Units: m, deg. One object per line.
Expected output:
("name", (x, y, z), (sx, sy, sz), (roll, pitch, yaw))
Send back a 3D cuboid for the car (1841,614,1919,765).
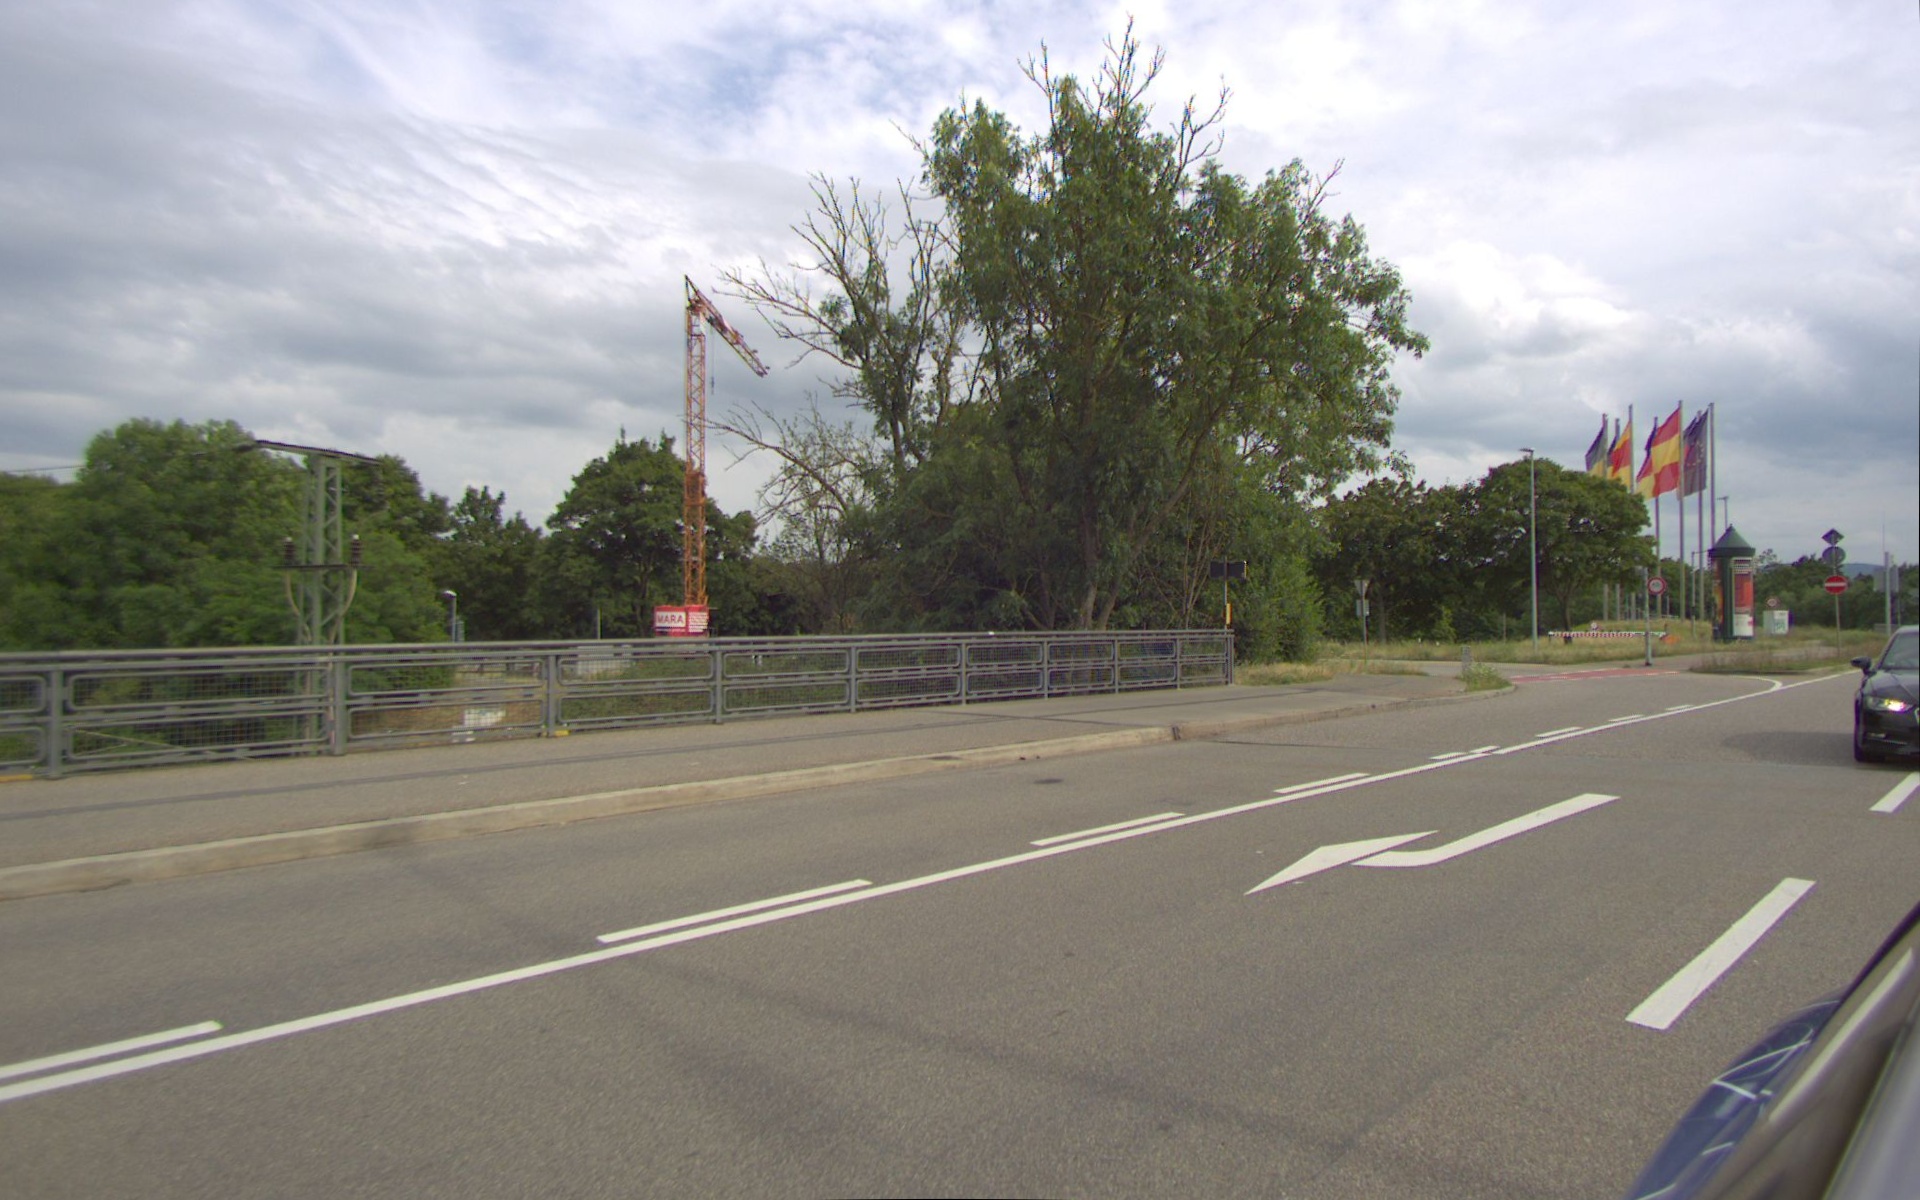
("car", (10.797, 0.858, 10.589), (4.648, 1.381, 1.850), (1, -1, -42))
